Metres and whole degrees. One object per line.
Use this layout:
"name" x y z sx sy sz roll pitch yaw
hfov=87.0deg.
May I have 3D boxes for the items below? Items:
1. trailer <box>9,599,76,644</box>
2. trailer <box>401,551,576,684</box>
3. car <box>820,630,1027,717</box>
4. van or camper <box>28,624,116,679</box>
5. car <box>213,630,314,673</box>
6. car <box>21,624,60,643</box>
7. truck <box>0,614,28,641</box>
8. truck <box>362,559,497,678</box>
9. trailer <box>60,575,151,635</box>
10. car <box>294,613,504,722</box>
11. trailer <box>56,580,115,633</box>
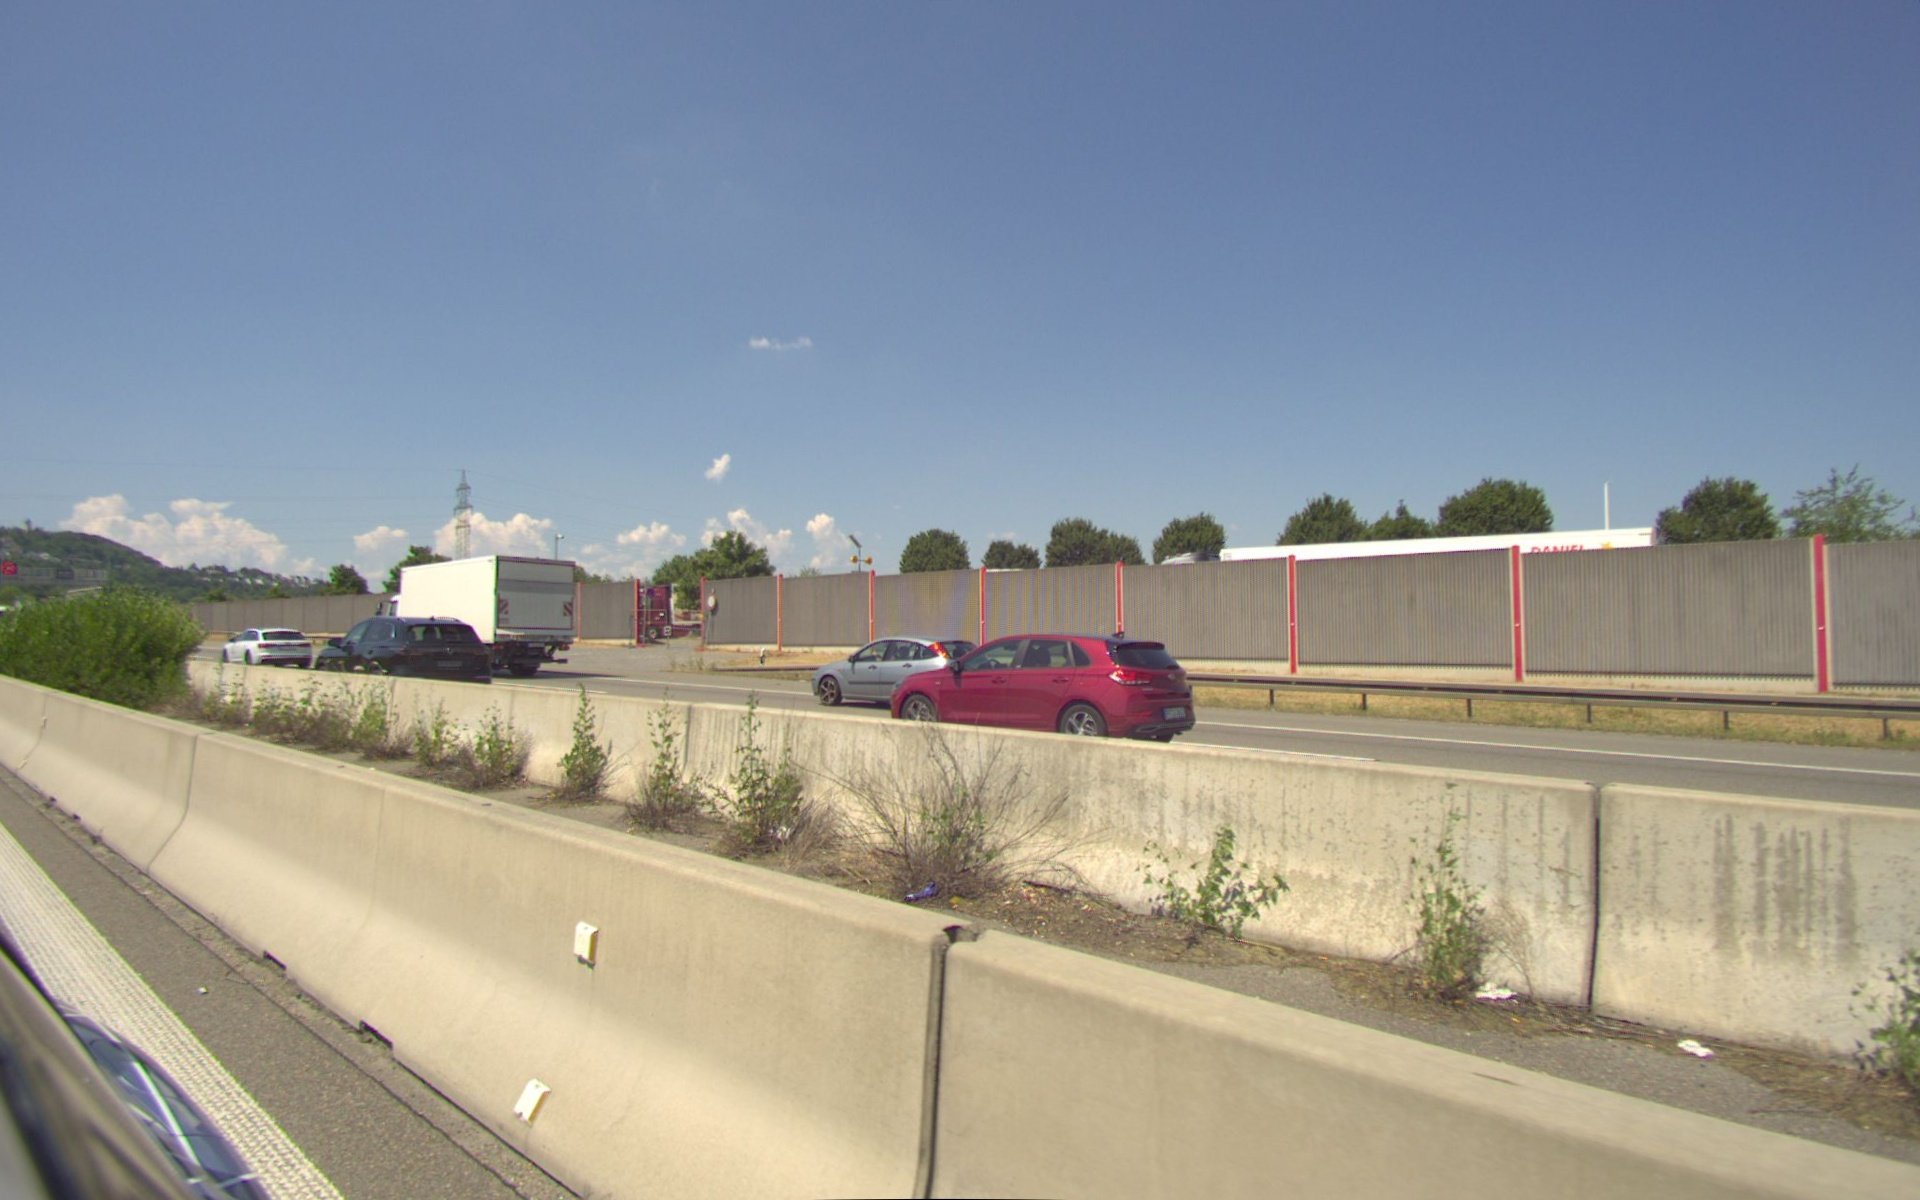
"trailer" -89.334 2.005 98.383 14.383 4.087 3.222 -1 0 41
"trailer" -15.368 0.605 32.764 6.613 3.903 2.620 -1 -3 41
"car" -0.779 1.376 19.811 3.998 1.530 1.638 -1 -4 41
"van or camper" -35.931 2.017 40.902 5.441 2.029 1.973 -1 -1 41
"car" -25.223 1.819 36.561 5.102 1.441 1.772 -1 -2 41
"car" -66.354 2.416 73.014 3.740 1.349 1.633 -1 -1 41
"truck" -105.782 3.026 112.399 9.086 2.895 2.374 -1 -1 41
"truck" -18.772 0.680 35.757 4.723 3.903 2.613 -1 -3 41
"trailer" -63.989 0.460 75.538 15.155 4.097 2.953 -1 -1 41
"car" -10.500 1.178 18.790 4.642 1.772 1.973 -2 -2 41
"trailer" -69.349 0.541 80.241 4.454 4.097 2.929 -1 -1 41
